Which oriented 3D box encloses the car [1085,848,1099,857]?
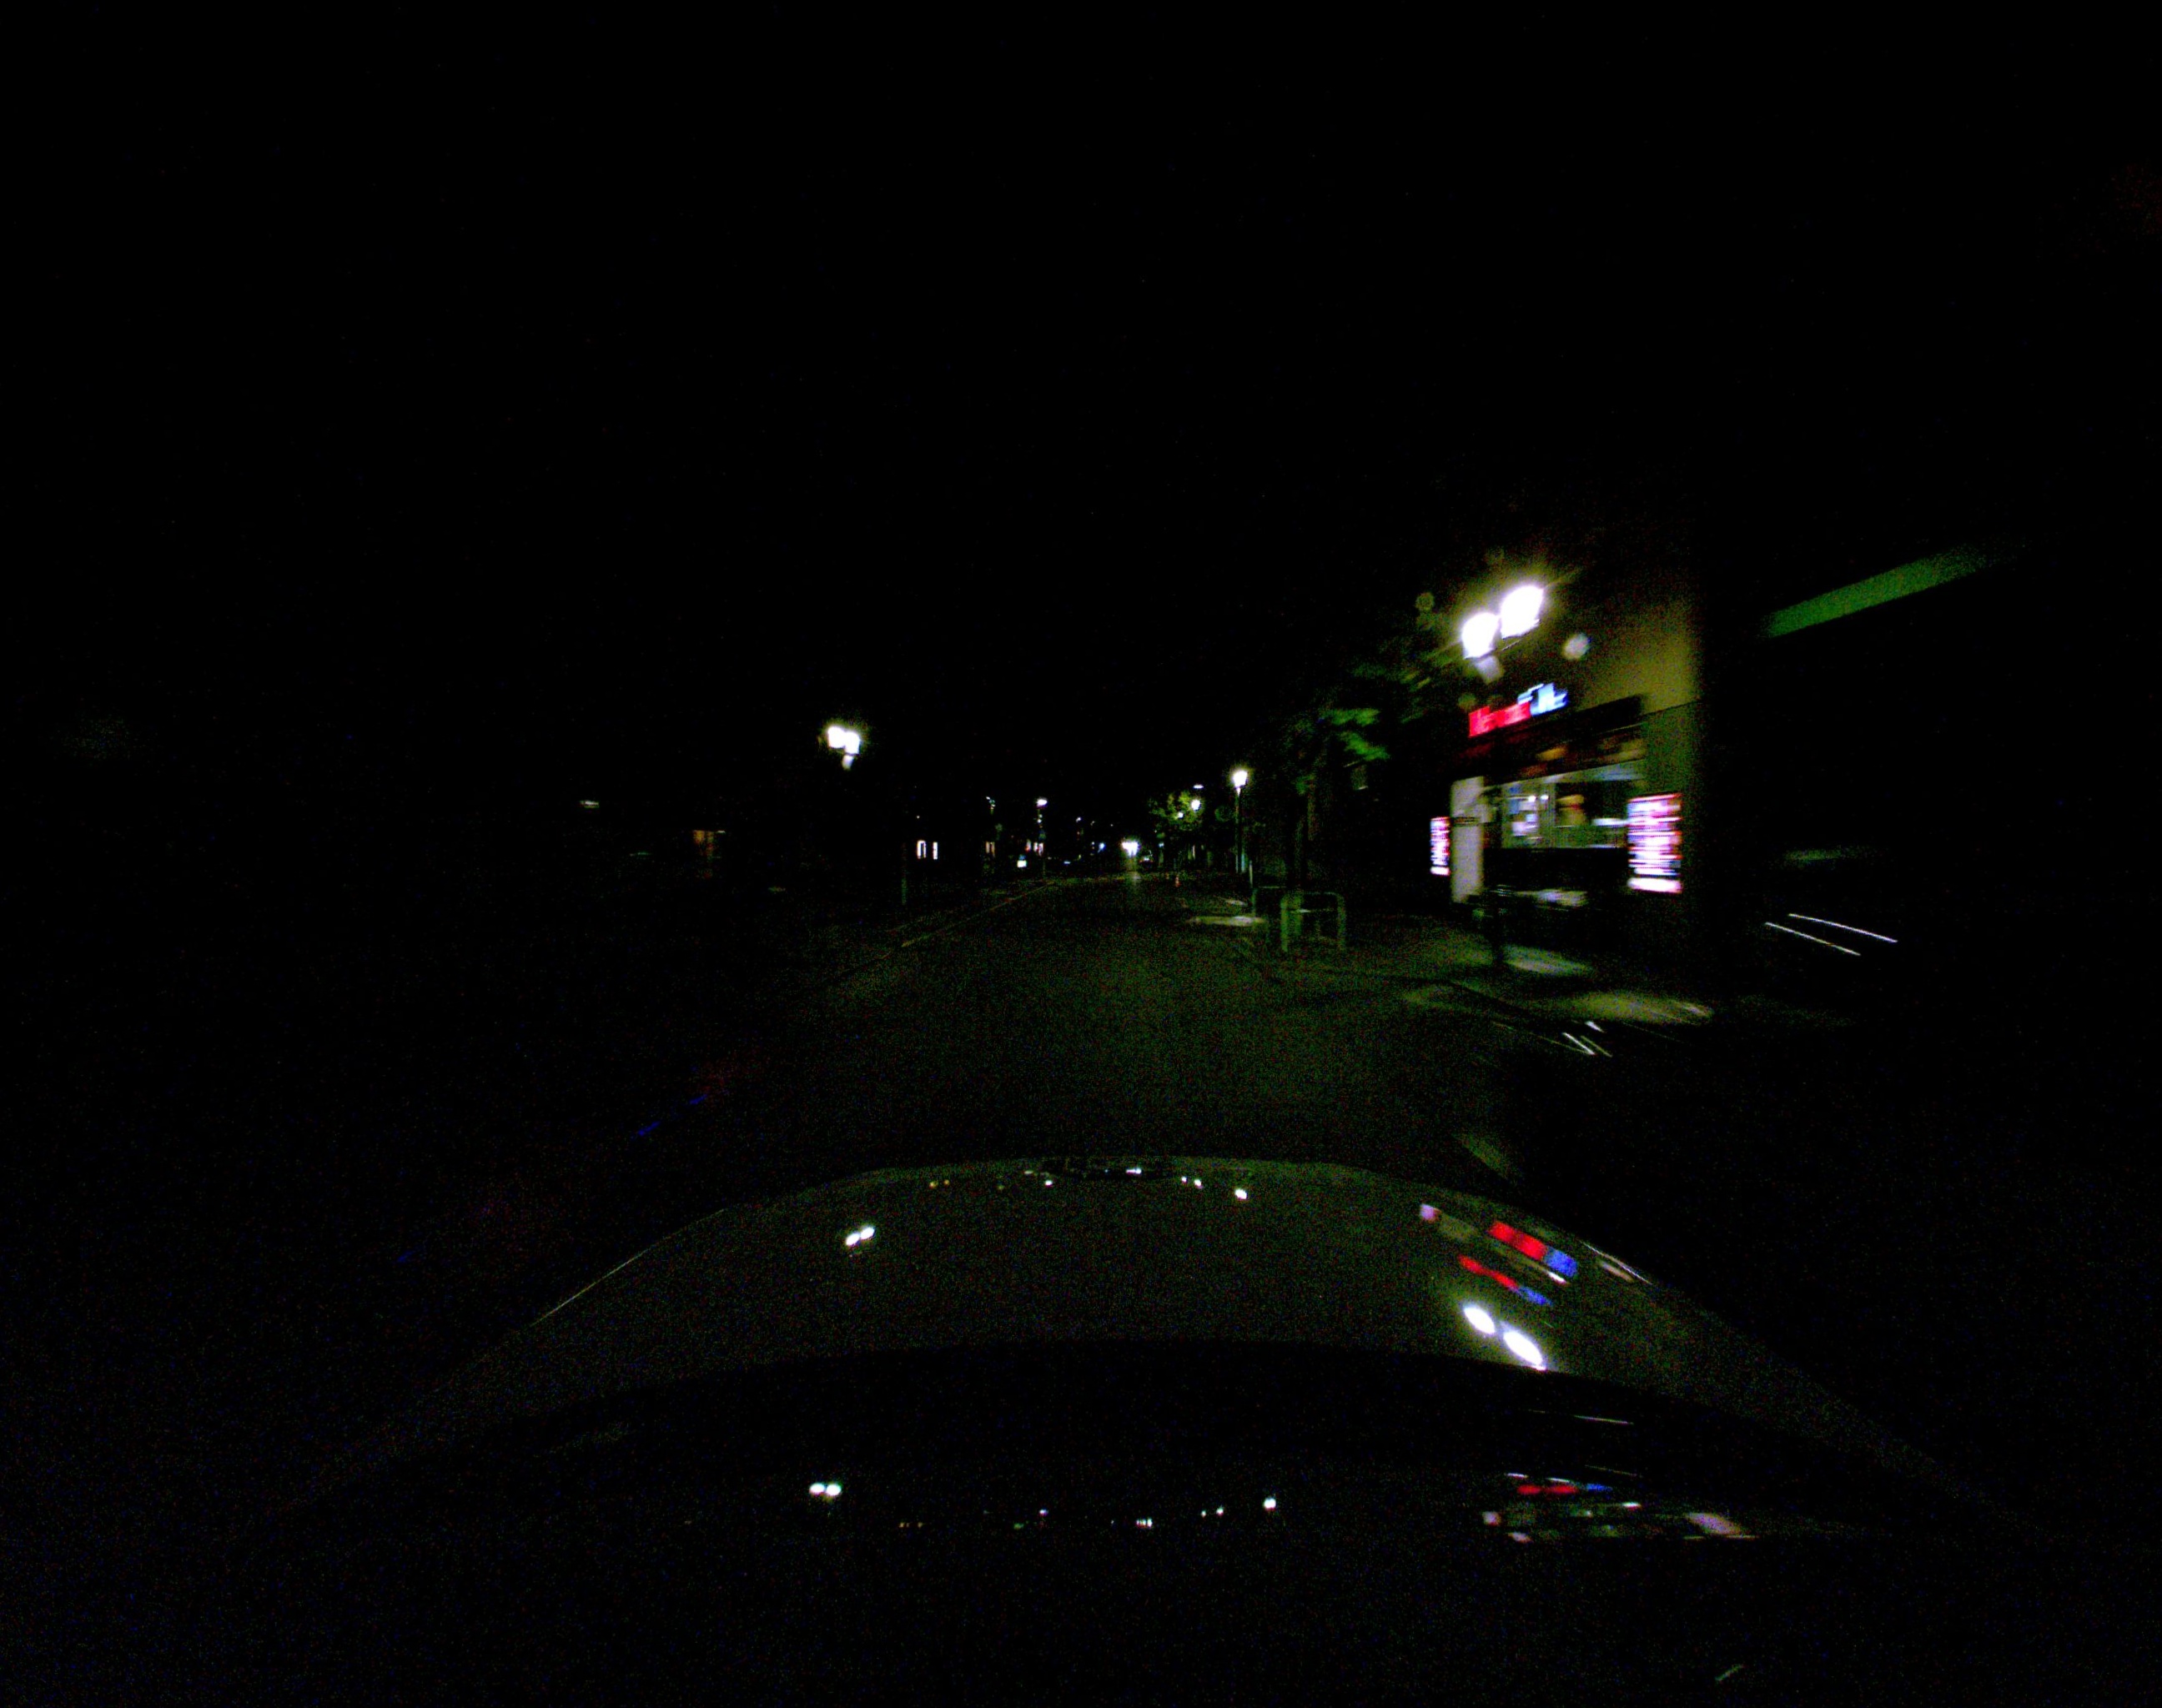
[{"bbox_3d":[1.825,-0.299,133.739,1.905,1.370,4.464,-1,1,5],"label":"car"}]

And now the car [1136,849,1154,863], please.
[{"bbox_3d":[6.622,0.180,84.834,1.668,1.459,3.677,-1,0,1],"label":"car"}]

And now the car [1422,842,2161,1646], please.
[{"bbox_3d":[2.788,0.697,2.185,1.730,1.440,4.493,-1,0,-2],"label":"car"}]

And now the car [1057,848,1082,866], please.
[{"bbox_3d":[-1.131,0.243,79.705,2.009,1.691,5.008,1,1,4],"label":"car"}]

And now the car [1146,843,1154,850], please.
[{"bbox_3d":[15.784,-1.678,186.626,1.767,1.652,4.370,-1,1,5],"label":"car"}]

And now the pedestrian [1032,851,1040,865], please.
[{"bbox_3d":[-5.490,0.441,99.199,0.766,1.656,0.818,-1,2,4],"label":"pedestrian"}]

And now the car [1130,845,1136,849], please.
[{"bbox_3d":[15.137,-1.958,235.995,1.715,1.246,4.243,-1,1,5],"label":"car"}]

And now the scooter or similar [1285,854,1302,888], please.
[{"bbox_3d":[8.072,0.651,30.996,0.371,1.277,1.307,-1,-1,4],"label":"scooter or similar"}]
